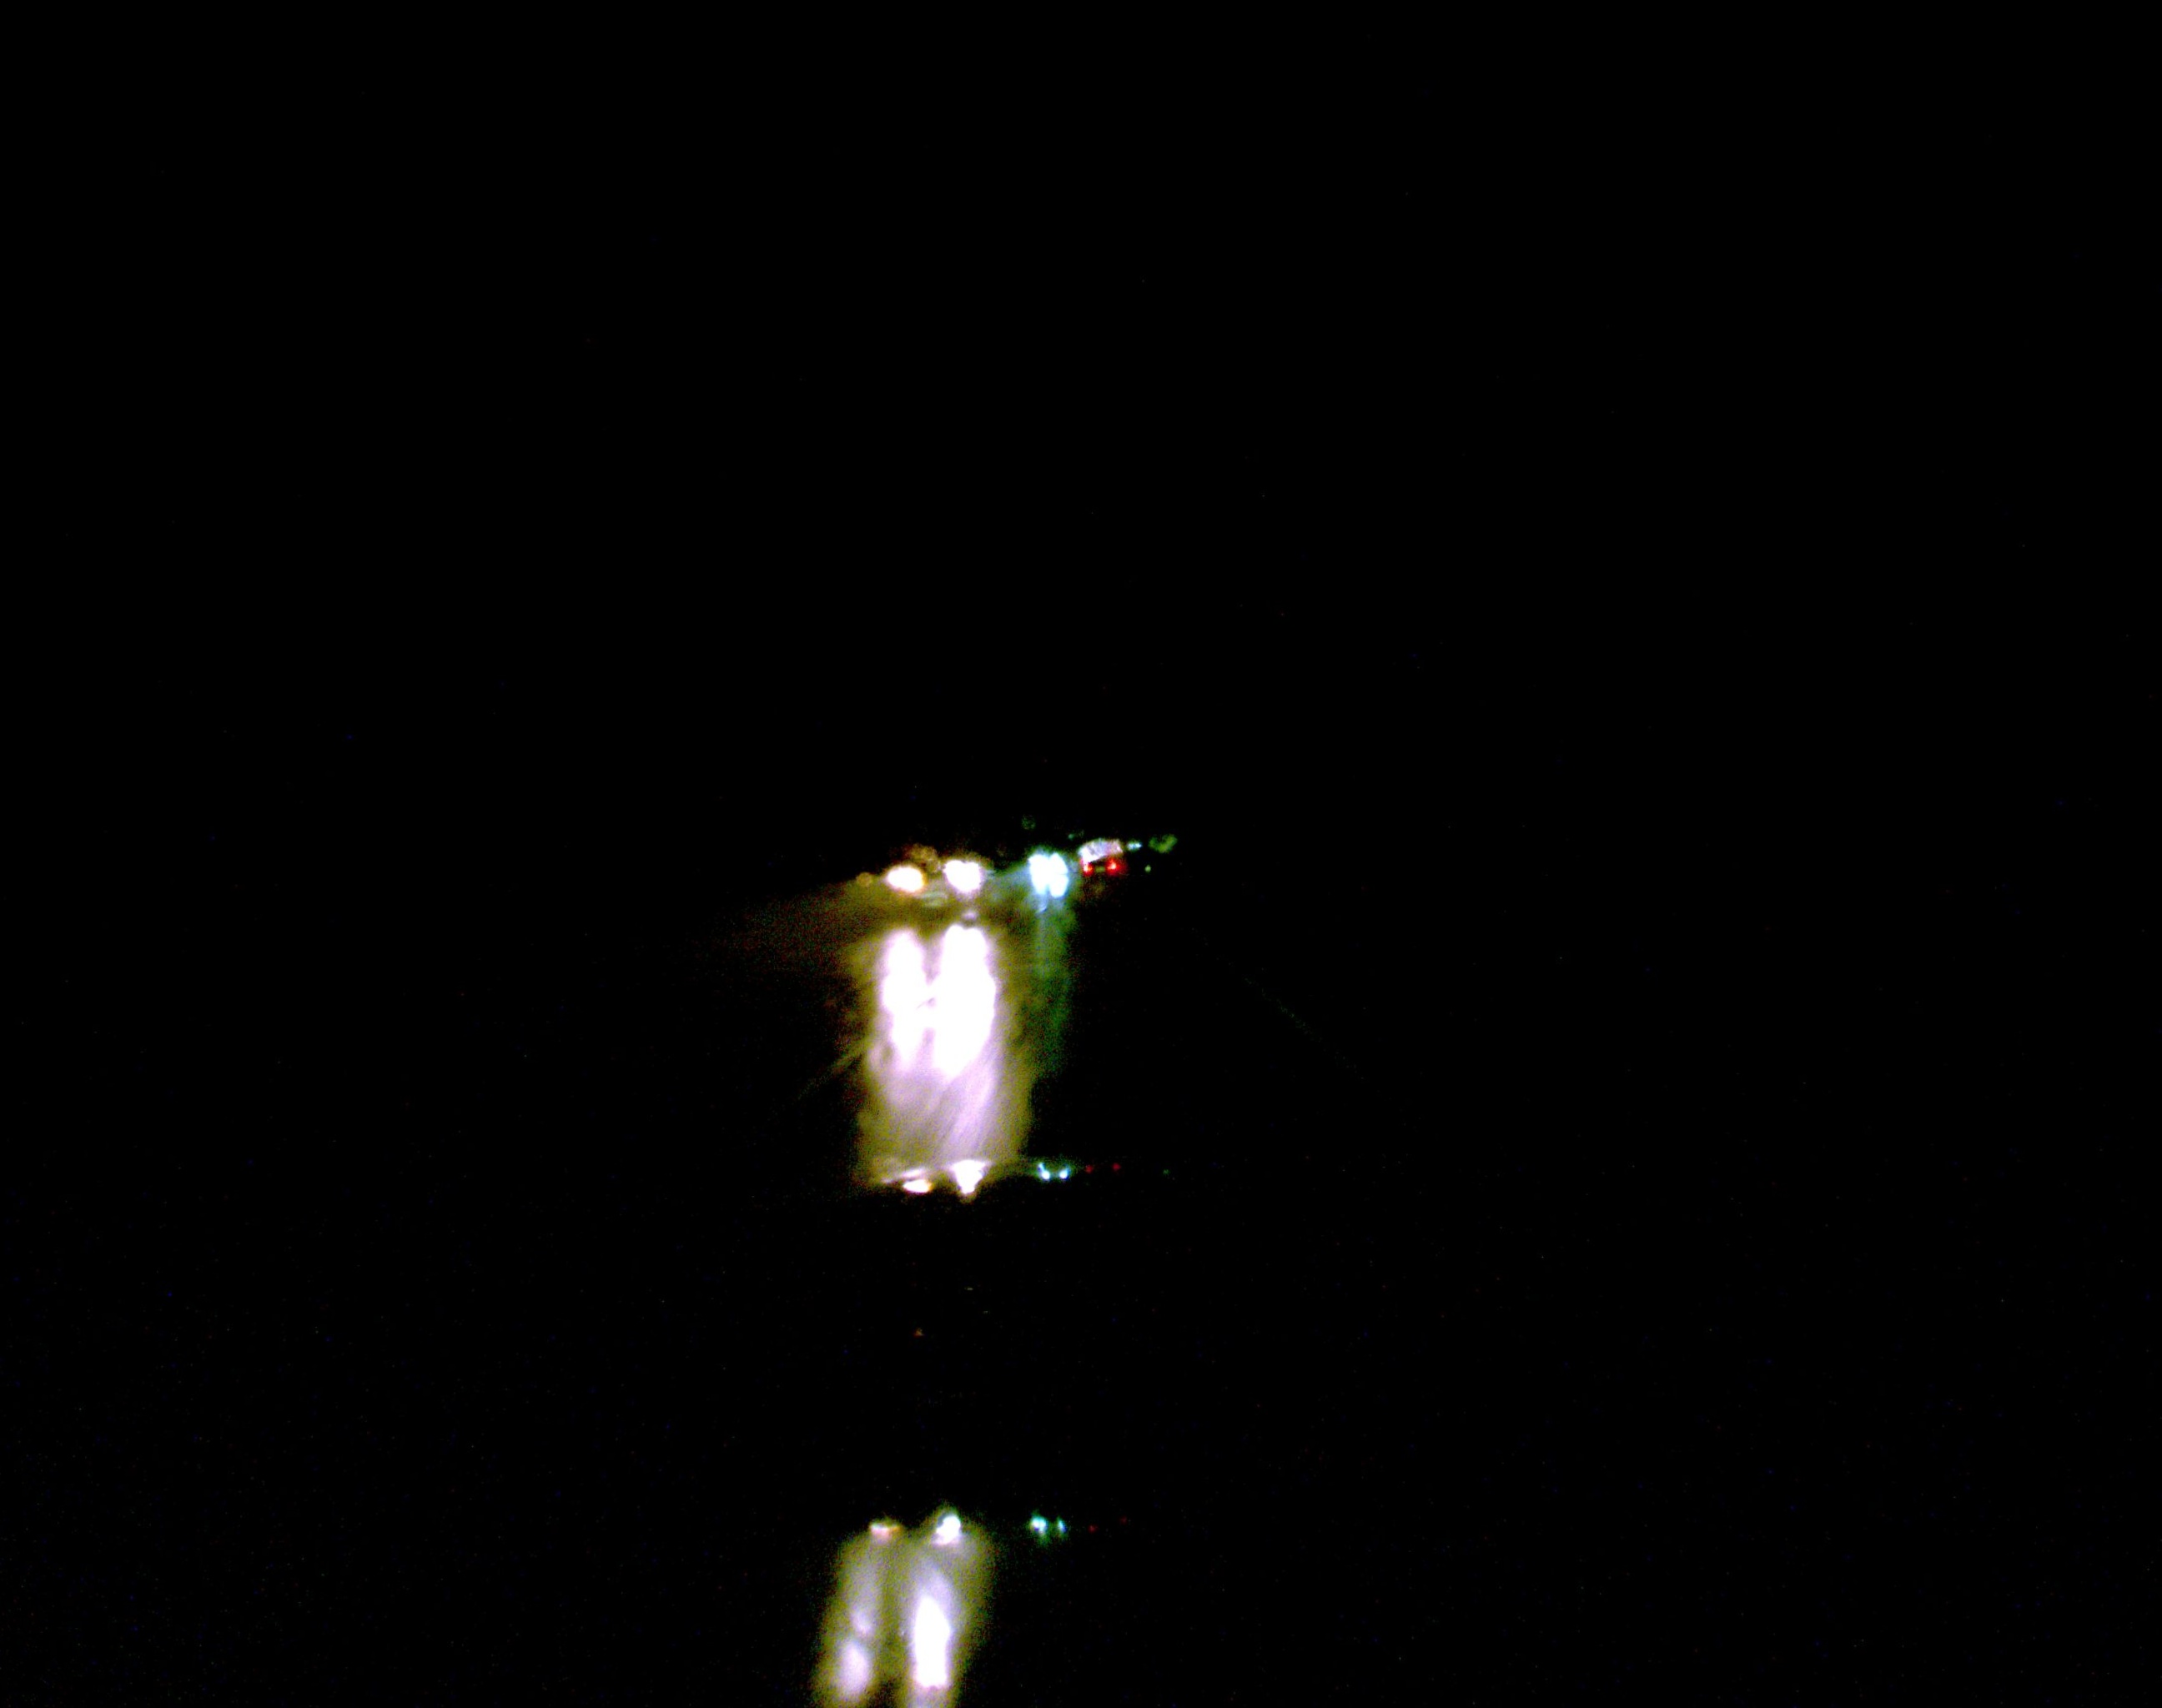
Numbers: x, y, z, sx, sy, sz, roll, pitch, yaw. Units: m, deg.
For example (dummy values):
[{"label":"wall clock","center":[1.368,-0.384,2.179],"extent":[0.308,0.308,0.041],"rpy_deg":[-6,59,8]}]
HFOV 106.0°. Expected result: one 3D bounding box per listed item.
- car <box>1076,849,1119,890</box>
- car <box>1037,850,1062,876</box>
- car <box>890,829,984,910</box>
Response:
[{"label":"car","center":[0.847,0.769,42.204],"extent":[2.086,2.013,4.000],"rpy_deg":[0,0,0]},{"label":"car","center":[-2.568,0.686,66.105],"extent":[1.988,2.013,3.997],"rpy_deg":[0,0,-2]},{"label":"car","center":[-3.841,0.390,22.444],"extent":[1.988,2.013,3.997],"rpy_deg":[0,0,-2]}]
